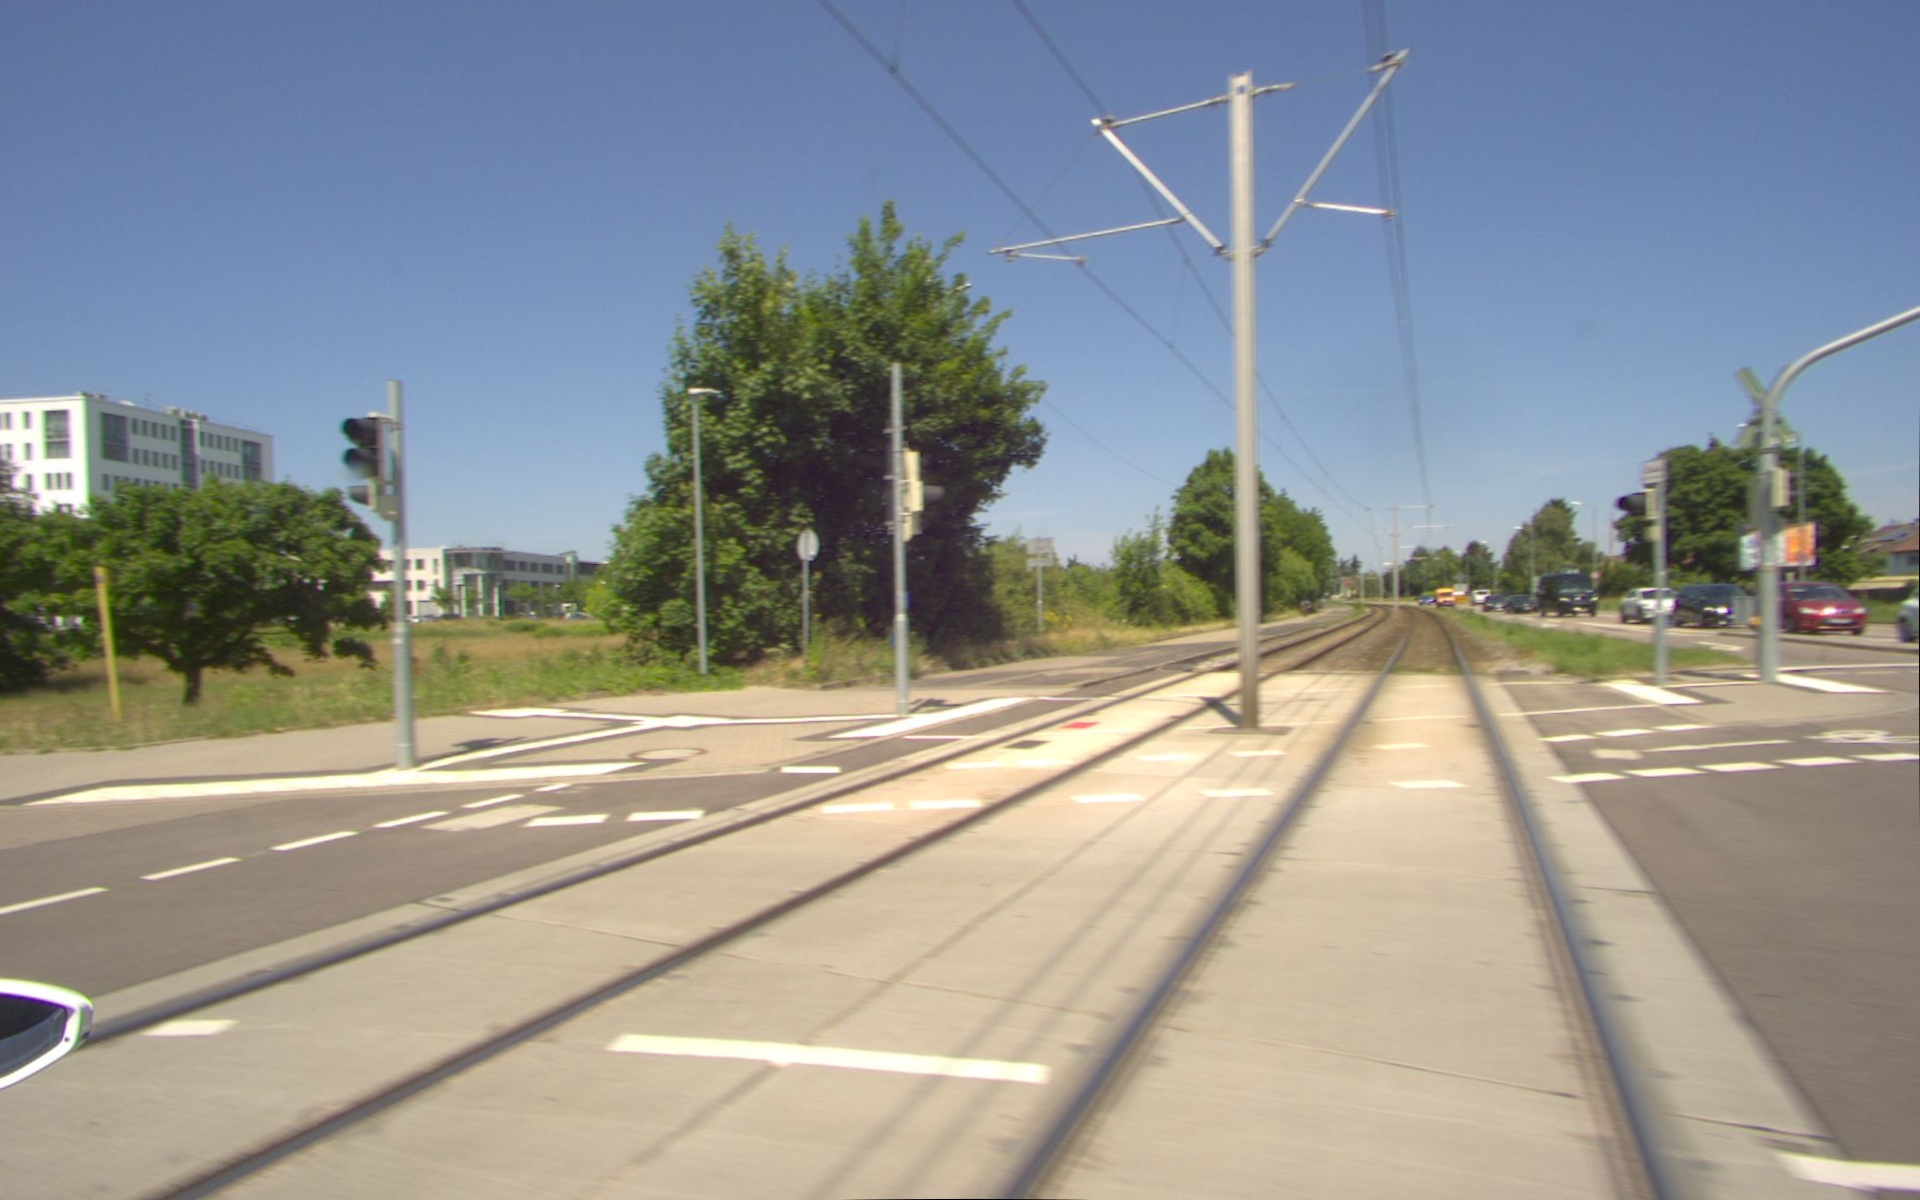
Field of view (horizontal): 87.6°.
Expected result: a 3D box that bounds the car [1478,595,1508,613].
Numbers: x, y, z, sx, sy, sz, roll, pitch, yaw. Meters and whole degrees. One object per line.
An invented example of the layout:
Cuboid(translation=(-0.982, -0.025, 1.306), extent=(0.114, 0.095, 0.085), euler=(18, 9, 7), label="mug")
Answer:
Cuboid(translation=(46.659, 0.337, 87.767), extent=(1.843, 1.597, 4.400), euler=(0, 0, 22), label="car")

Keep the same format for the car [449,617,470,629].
Cuboid(translation=(-91.433, 4.191, 182.905), extent=(1.961, 2.040, 4.000), euler=(-1, 0, -3), label="car")

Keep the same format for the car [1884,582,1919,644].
Cuboid(translation=(22.461, 0.302, 21.918), extent=(1.843, 1.407, 4.400), euler=(0, 0, 22), label="car")

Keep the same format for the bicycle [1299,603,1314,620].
Cuboid(translation=(31.701, 1.045, 91.619), extent=(1.046, 1.363, 2.689), euler=(-4, -1, 22), label="bicycle")

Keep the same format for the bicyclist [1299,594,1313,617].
Cuboid(translation=(31.631, 0.489, 91.556), extent=(1.057, 2.039, 1.182), euler=(-4, -1, 22), label="bicyclist")

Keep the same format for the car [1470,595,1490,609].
Cuboid(translation=(66.936, 0.289, 128.893), extent=(1.742, 1.779, 3.991), euler=(2, 0, 20), label="car")

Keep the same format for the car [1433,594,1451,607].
Cuboid(translation=(60.925, 0.072, 126.639), extent=(1.843, 1.707, 4.400), euler=(0, 0, 22), label="car")

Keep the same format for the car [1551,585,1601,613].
Cuboid(translation=(36.536, -0.071, 59.520), extent=(1.843, 1.597, 4.400), euler=(0, 0, 22), label="car")

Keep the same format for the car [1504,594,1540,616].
Cuboid(translation=(42.434, 0.398, 75.696), extent=(1.843, 1.597, 4.400), euler=(0, 0, 22), label="car")

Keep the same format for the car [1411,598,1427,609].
Cuboid(translation=(73.413, 0.587, 160.108), extent=(1.965, 1.813, 3.991), euler=(0, -1, 20), label="car")

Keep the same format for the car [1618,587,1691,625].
Cuboid(translation=(30.539, 0.264, 44.140), extent=(1.701, 1.597, 4.400), euler=(0, 0, 22), label="car")

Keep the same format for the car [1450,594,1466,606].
Cuboid(translation=(75.734, -0.043, 152.332), extent=(1.742, 1.779, 3.991), euler=(2, 0, 20), label="car")

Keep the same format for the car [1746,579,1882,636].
Cuboid(translation=(25.792, 0.219, 30.429), extent=(1.843, 1.597, 4.400), euler=(0, 0, 22), label="car")

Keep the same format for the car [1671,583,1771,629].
Cuboid(translation=(28.197, 0.215, 37.257), extent=(1.843, 1.597, 4.400), euler=(0, 0, 22), label="car")
